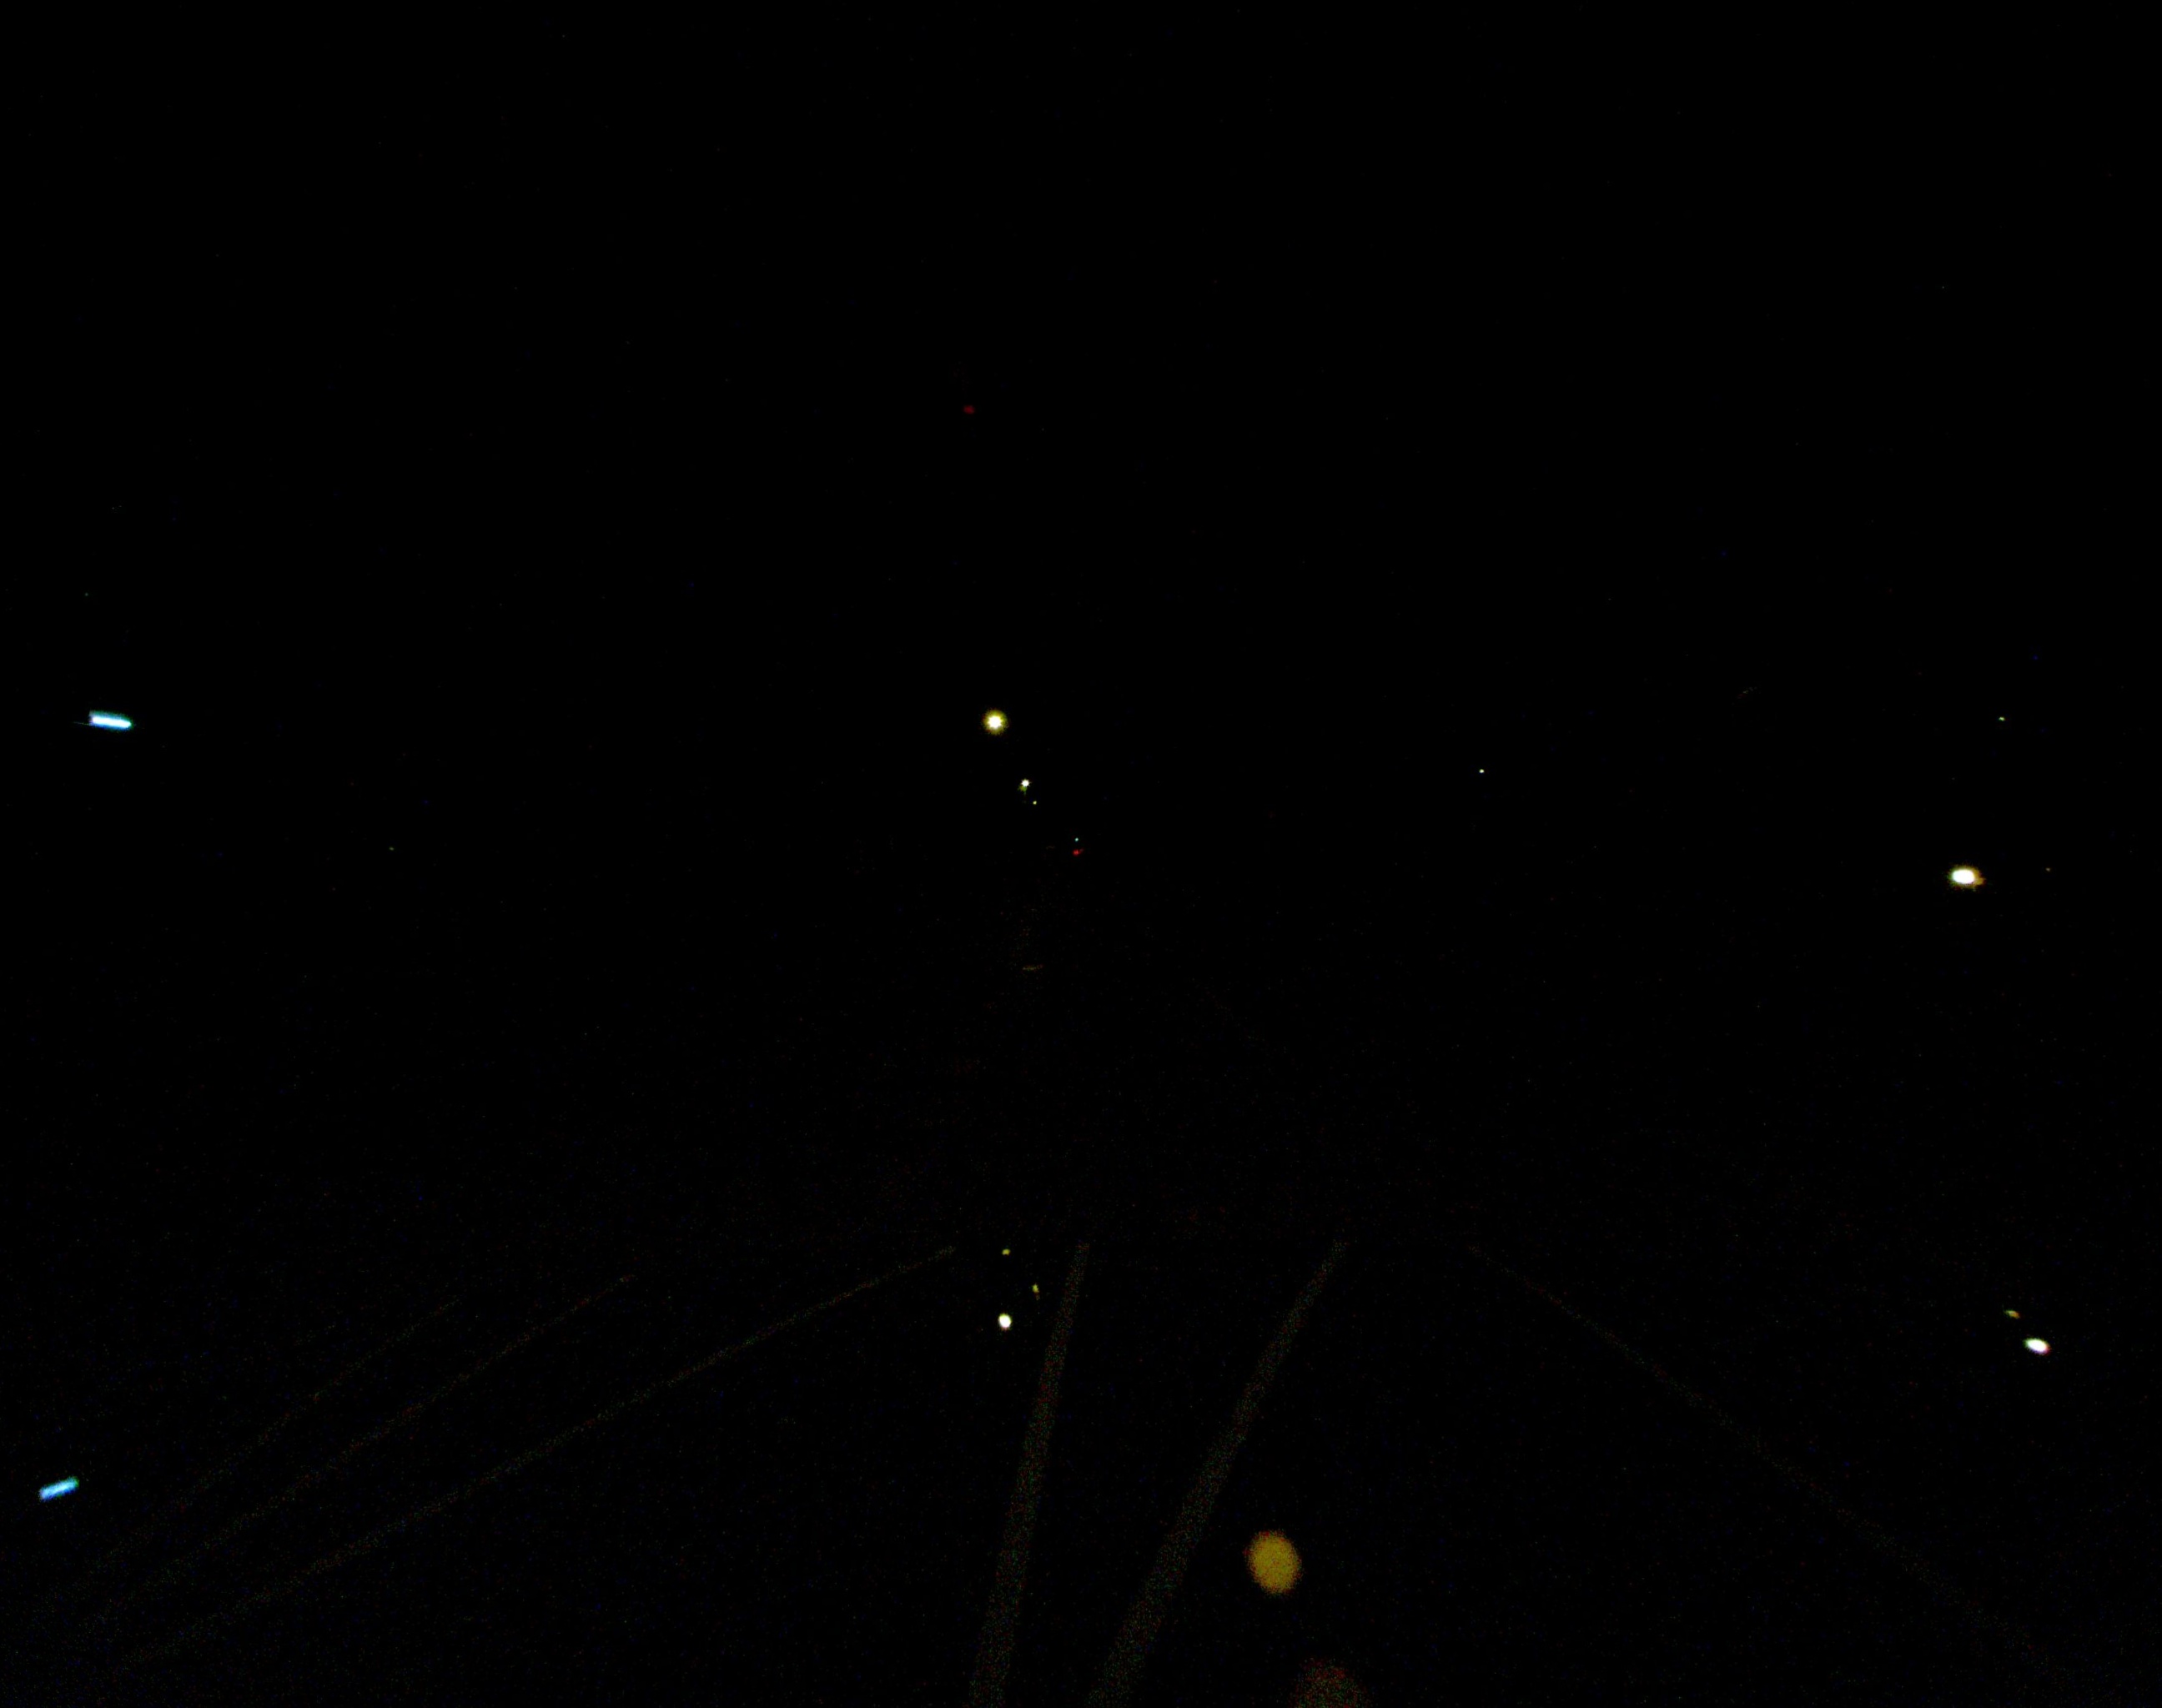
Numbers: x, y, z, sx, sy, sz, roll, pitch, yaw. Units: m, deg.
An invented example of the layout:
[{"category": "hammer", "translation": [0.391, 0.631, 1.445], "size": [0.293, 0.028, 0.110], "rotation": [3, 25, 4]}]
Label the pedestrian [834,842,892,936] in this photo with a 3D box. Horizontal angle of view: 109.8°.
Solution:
[{"category": "pedestrian", "translation": [-4.519, 0.699, 15.831], "size": [0.819, 1.854, 1.034], "rotation": [-2, 1, 1]}]

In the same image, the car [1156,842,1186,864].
[{"category": "car", "translation": [7.181, -0.091, 60.916], "size": [1.806, 1.583, 3.999], "rotation": [-2, 1, 0]}]

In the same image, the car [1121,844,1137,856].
[{"category": "car", "translation": [6.331, -0.479, 100.529], "size": [1.863, 1.484, 4.080], "rotation": [-2, 1, 1]}]

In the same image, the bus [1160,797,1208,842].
[{"category": "bus", "translation": [17.316, -5.674, 129.352], "size": [6.135, 6.898, 14.781], "rotation": [-2, 1, 1]}]

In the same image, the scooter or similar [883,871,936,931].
[{"category": "scooter or similar", "translation": [-3.643, 0.985, 16.170], "size": [0.468, 1.195, 1.137], "rotation": [-2, 0, 24]}]

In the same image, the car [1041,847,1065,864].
[{"category": "car", "translation": [-2.859, 0.155, 78.195], "size": [1.998, 1.638, 4.000], "rotation": [1, 2, 5]}]
